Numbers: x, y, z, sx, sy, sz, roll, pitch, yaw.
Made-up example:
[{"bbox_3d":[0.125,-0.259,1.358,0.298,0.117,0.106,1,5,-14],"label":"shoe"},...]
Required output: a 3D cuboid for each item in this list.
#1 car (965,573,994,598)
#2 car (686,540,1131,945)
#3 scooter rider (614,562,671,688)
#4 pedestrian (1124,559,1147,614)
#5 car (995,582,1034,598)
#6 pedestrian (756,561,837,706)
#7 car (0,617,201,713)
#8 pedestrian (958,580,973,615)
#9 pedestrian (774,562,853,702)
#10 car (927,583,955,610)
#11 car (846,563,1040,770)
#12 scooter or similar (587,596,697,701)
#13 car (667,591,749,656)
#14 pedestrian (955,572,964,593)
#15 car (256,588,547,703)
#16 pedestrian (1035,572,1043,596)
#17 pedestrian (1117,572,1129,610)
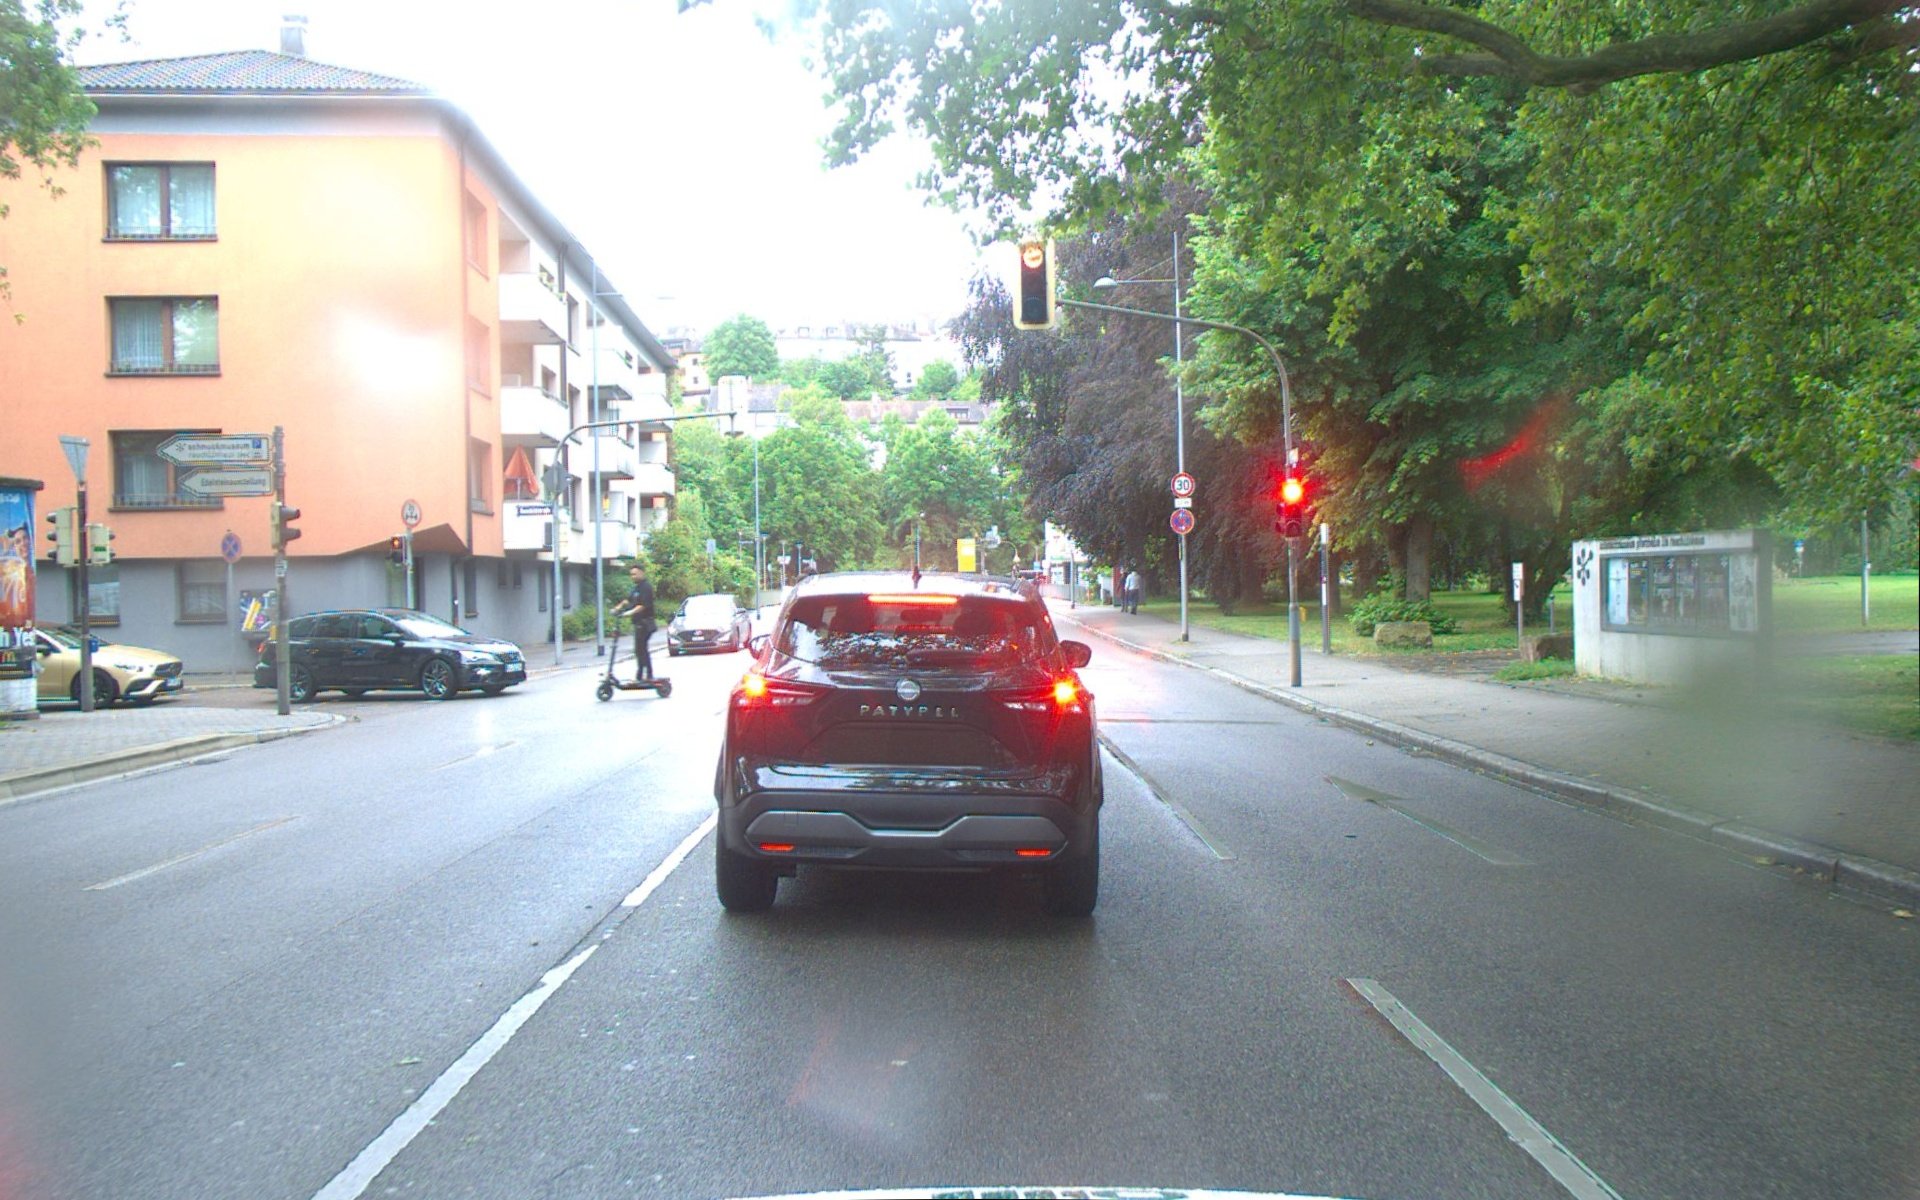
[{"bbox_3d":[1.493,-1.073,124.121,1.952,1.765,4.002,1,0,4],"label":"car"},{"bbox_3d":[-0.239,0.591,9.016,1.874,1.709,3.999,0,0,-1],"label":"car"},{"bbox_3d":[-4.596,0.363,23.966,0.630,1.797,0.735,-1,-1,4],"label":"scooter rider"},{"bbox_3d":[6.643,-0.497,62.546,0.710,2.049,0.851,-2,0,-1],"label":"pedestrian"},{"bbox_3d":[5.886,-1.081,179.007,3.893,1.559,1.632,-2,0,-18],"label":"car"},{"bbox_3d":[-2.212,0.435,22.322,1.017,1.909,0.656,-1,0,-12],"label":"pedestrian"},{"bbox_3d":[-15.408,1.096,27.631,4.540,1.428,1.832,-2,0,0],"label":"car"},{"bbox_3d":[0.283,-0.131,87.151,0.605,1.833,0.509,-2,0,27],"label":"pedestrian"},{"bbox_3d":[-2.046,0.439,23.077,1.017,1.909,0.656,-1,0,-12],"label":"pedestrian"},{"bbox_3d":[-1.143,-0.216,100.537,1.601,1.559,3.967,-2,1,-1],"label":"car"},{"bbox_3d":[-0.173,0.574,16.479,1.664,1.776,3.640,-2,0,-1],"label":"car"},{"bbox_3d":[-4.602,0.694,24.016,1.364,1.471,0.817,-1,-1,6],"label":"scooter or similar"},{"bbox_3d":[-6.495,0.571,42.950,1.760,1.560,3.864,-2,0,-4],"label":"car"},{"bbox_3d":[-0.059,-1.430,137.159,0.498,1.702,0.658,-2,0,27],"label":"pedestrian"},{"bbox_3d":[-9.019,0.718,26.853,4.036,1.654,1.853,-2,0,11],"label":"car"},{"bbox_3d":[6.228,-1.243,129.997,0.498,1.833,0.619,-2,0,-2],"label":"pedestrian"},{"bbox_3d":[6.624,-0.373,67.087,0.382,1.528,0.559,-2,0,-1],"label":"pedestrian"}]
